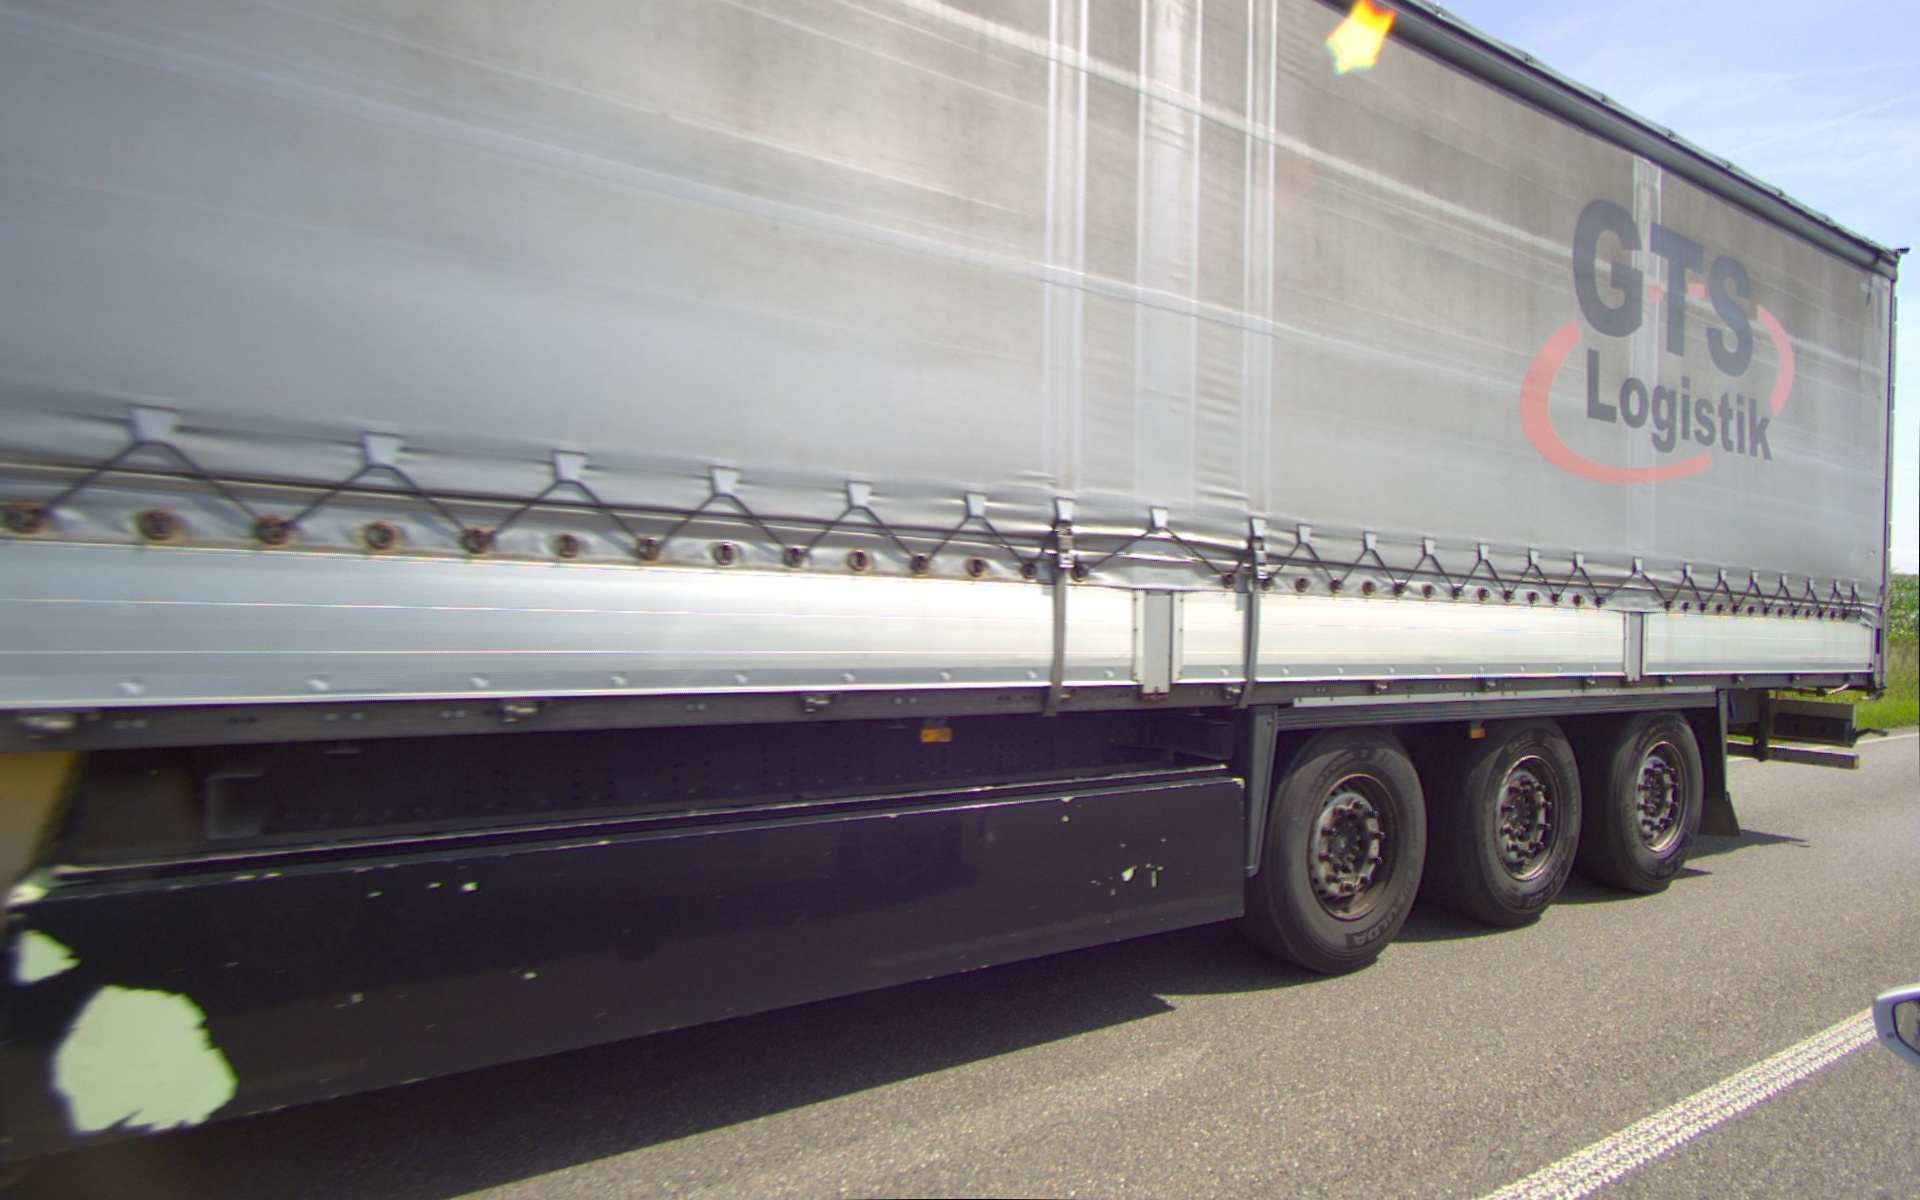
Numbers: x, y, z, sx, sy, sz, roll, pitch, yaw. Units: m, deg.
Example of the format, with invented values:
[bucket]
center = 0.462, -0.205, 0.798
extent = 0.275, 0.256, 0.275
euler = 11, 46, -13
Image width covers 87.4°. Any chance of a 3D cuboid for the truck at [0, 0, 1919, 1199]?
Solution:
[truck]
center = -1.108, -0.554, 3.882
extent = 16.341, 4.046, 2.813
euler = 2, -1, -31
